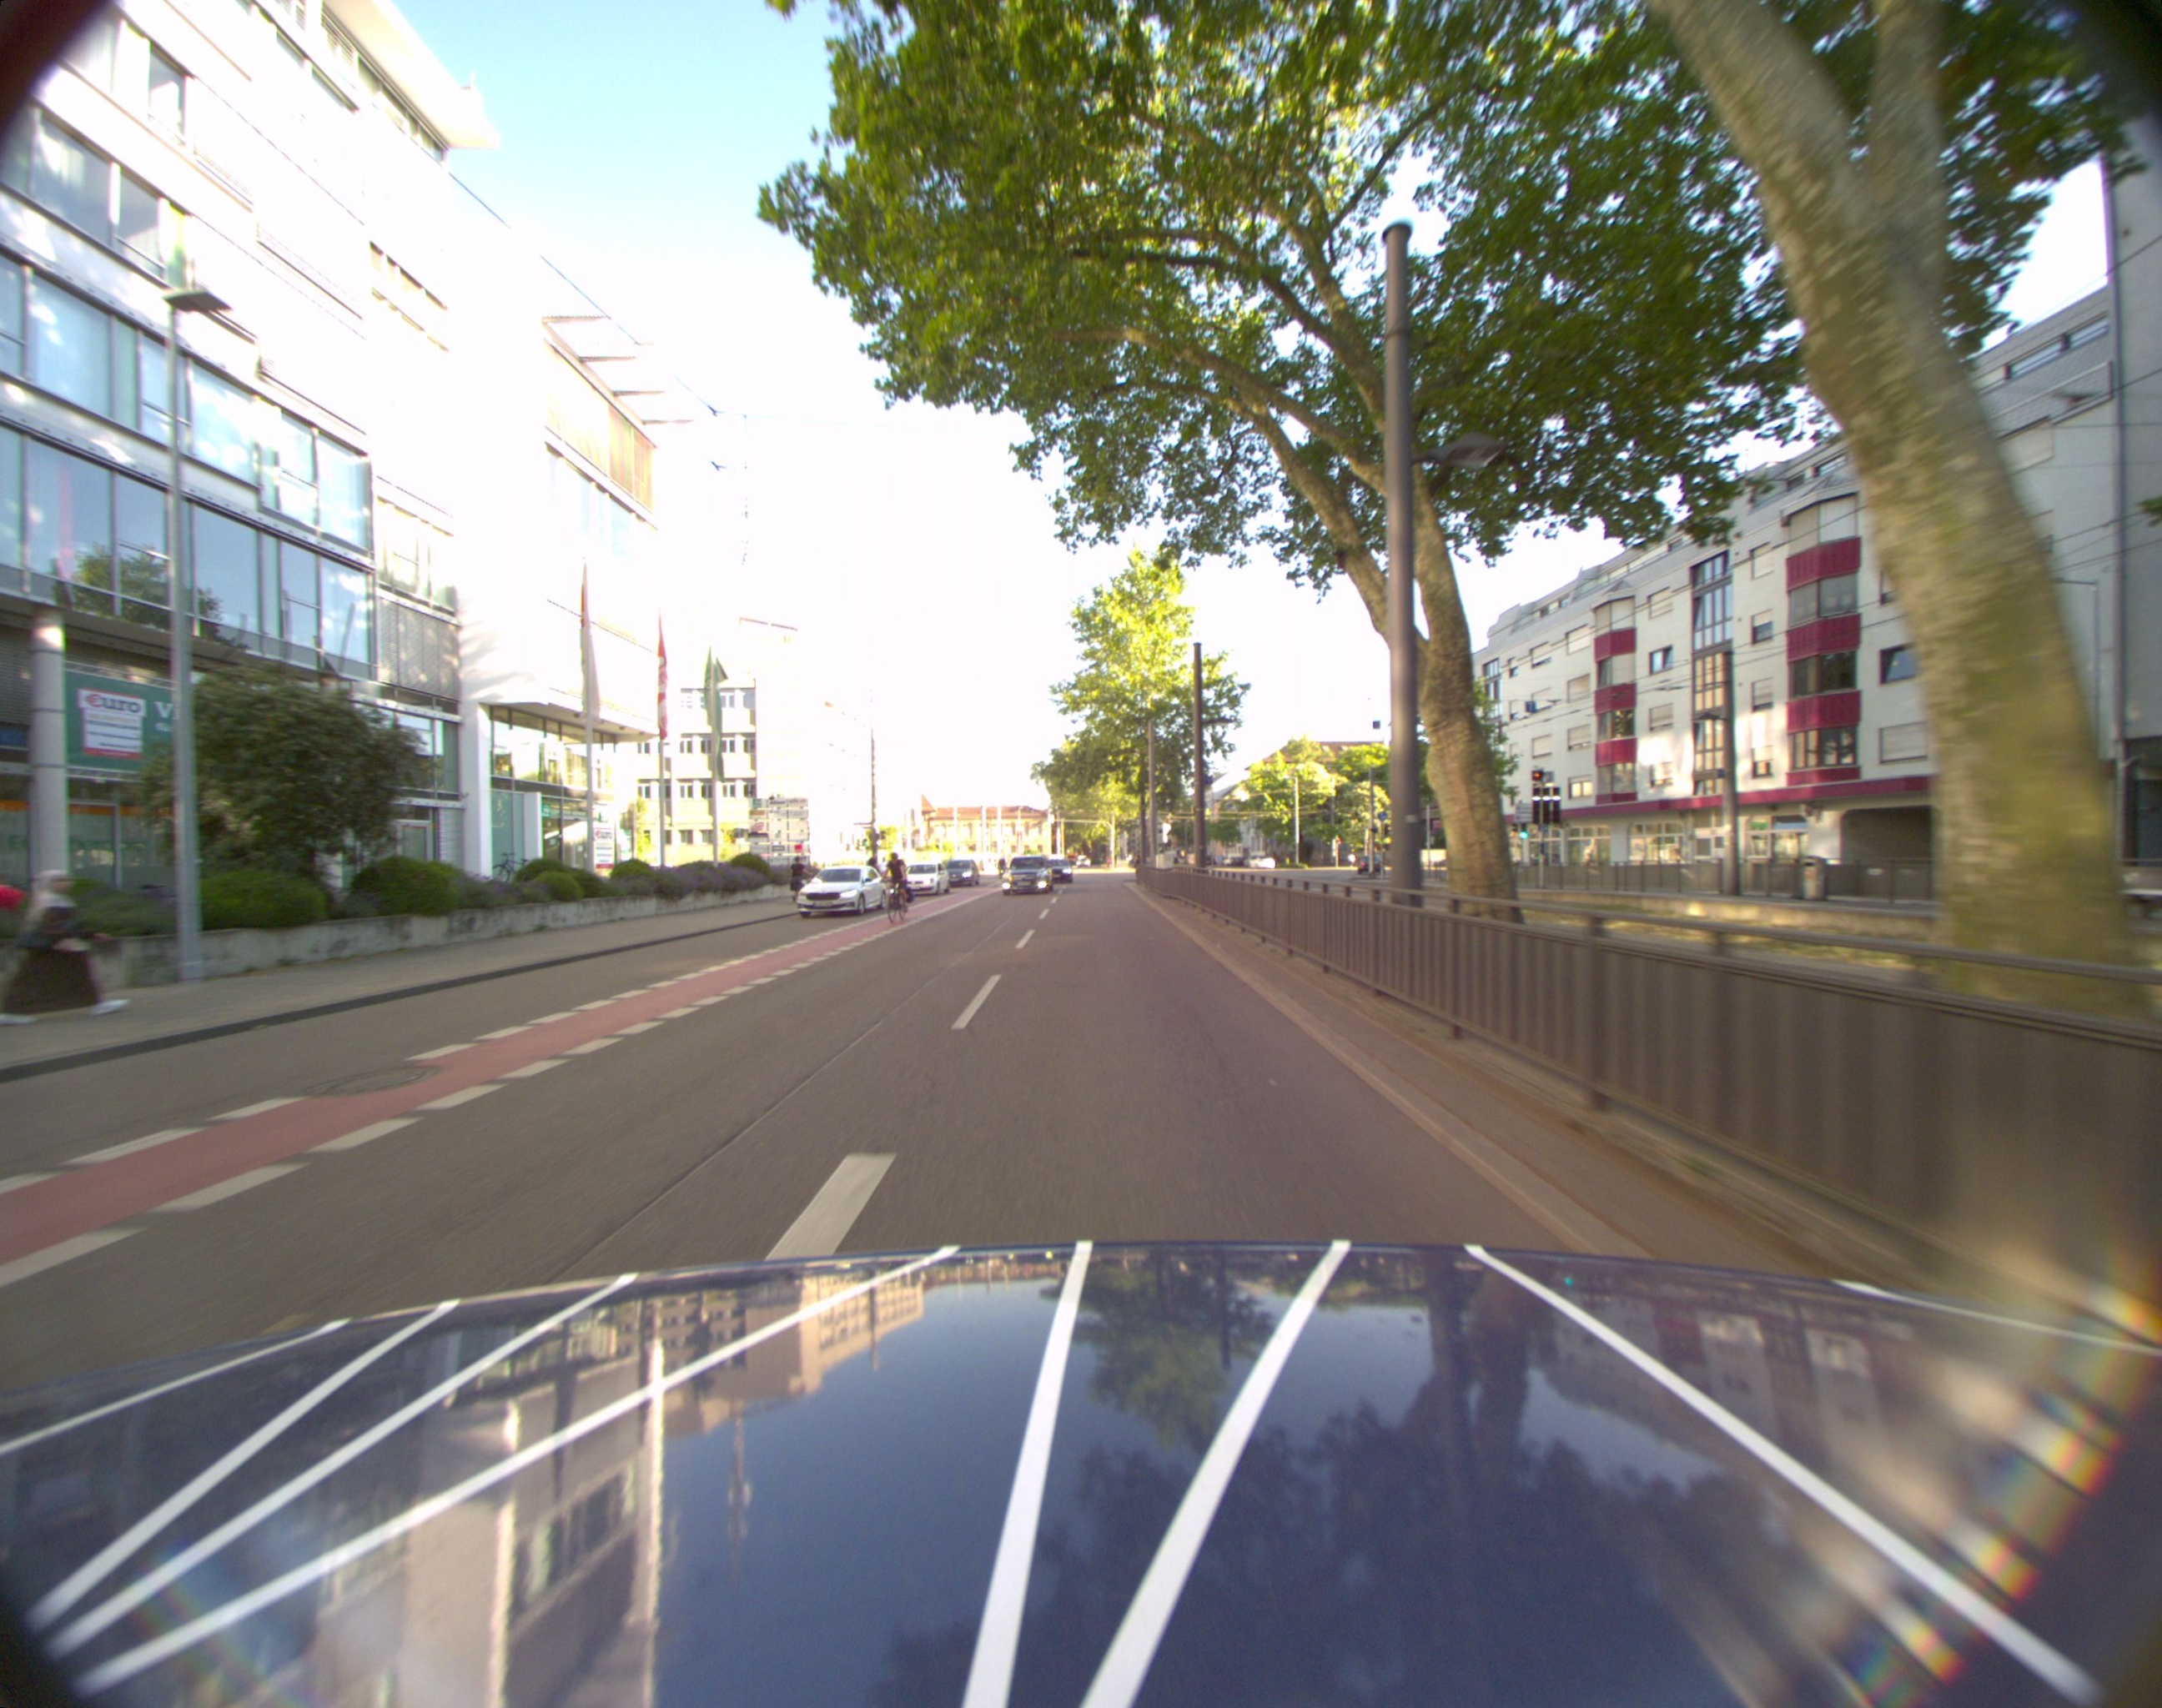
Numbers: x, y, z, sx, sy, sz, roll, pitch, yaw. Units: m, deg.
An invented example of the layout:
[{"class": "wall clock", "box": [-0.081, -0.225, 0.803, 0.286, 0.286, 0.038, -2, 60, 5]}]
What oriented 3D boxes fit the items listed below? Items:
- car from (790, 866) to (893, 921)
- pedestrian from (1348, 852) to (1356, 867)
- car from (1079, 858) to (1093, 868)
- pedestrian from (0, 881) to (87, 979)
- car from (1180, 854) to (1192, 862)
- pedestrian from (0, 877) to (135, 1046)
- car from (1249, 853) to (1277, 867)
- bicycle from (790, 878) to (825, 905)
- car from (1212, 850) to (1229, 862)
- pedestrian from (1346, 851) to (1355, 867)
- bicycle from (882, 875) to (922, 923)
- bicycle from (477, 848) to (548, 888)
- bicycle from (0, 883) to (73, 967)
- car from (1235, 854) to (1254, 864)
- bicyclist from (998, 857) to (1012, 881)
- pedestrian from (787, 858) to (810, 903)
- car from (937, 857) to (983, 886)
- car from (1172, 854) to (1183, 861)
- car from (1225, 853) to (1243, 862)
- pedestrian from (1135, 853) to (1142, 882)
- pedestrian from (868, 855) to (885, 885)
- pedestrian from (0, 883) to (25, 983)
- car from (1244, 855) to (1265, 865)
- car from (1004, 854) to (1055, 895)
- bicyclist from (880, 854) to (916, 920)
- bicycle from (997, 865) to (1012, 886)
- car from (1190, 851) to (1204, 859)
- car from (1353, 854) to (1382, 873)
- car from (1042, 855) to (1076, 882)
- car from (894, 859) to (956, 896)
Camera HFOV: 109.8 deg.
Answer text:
[{"class": "car", "box": [-7.079, 1.110, 22.860, 1.786, 1.411, 4.021, 0, 0, 0]}, {"class": "pedestrian", "box": [28.456, 0.595, 79.885, 0.589, 1.498, 0.650, 0, 1, 41]}, {"class": "car", "box": [0.751, 1.351, 116.935, 1.827, 1.416, 4.345, -2, 0, -1]}, {"class": "pedestrian", "box": [-14.203, 1.008, 10.251, 0.785, 1.264, 0.543, -1, 1, -4]}, {"class": "car", "box": [22.120, 0.800, 159.767, 1.895, 1.552, 4.000, -1, 0, 0]}, {"class": "pedestrian", "box": [-10.493, 1.036, 7.650, 0.753, 1.565, 0.912, -1, 1, 3]}, {"class": "car", "box": [19.041, 0.613, 79.623, 1.998, 1.455, 4.000, -1, 0, 0]}, {"class": "bicycle", "box": [-9.619, 1.306, 26.781, 0.499, 0.841, 1.903, 3, 0, 1]}, {"class": "car", "box": [21.956, 0.313, 119.990, 1.862, 1.827, 3.913, -2, 1, 0]}, {"class": "pedestrian", "box": [28.303, 0.506, 79.845, 0.602, 1.694, 0.670, -1, 2, 39]}, {"class": "bicycle", "box": [-4.615, 1.134, 19.703, 0.551, 1.114, 2.126, 0, 0, -1]}, {"class": "bicycle", "box": [-20.391, 0.505, 27.238, 2.425, 1.419, 0.758, -1, 1, 18]}, {"class": "bicycle", "box": [-15.426, 1.017, 10.598, 0.534, 1.155, 1.611, -1, 0, 1]}, {"class": "car", "box": [23.015, 0.700, 107.088, 1.895, 1.259, 4.000, -1, 0, 0]}, {"class": "bicyclist", "box": [-4.319, 0.849, 43.096, 0.685, 1.372, 0.867, -1, 1, 0]}, {"class": "pedestrian", "box": [-9.984, 0.932, 26.859, 0.527, 1.573, 0.589, 2, 1, 2]}, {"class": "car", "box": [-7.009, 0.971, 44.329, 1.998, 1.586, 4.000, -1, 0, 0]}, {"class": "car", "box": [21.703, 0.840, 171.216, 1.895, 1.552, 4.000, -1, 0, 0]}, {"class": "car", "box": [22.728, 0.482, 113.291, 1.895, 1.259, 4.000, -1, 0, 0]}, {"class": "pedestrian", "box": [3.176, 0.736, 41.910, 0.389, 1.558, 0.336, -1, 1, 6]}, {"class": "pedestrian", "box": [-10.825, 0.827, 40.256, 0.693, 1.573, 0.664, 2, 1, 2]}, {"class": "pedestrian", "box": [-14.149, 1.017, 9.539, 0.752, 1.264, 0.693, -1, 1, -4]}, {"class": "car", "box": [22.954, 0.788, 100.554, 1.895, 1.259, 4.000, -1, 0, 0]}, {"class": "car", "box": [-2.091, 0.808, 31.948, 1.785, 1.628, 4.022, 0, 0, 1]}, {"class": "bicyclist", "box": [-4.711, 0.831, 19.586, 0.752, 1.678, 0.714, 0, 1, 1]}, {"class": "bicycle", "box": [-4.341, 1.185, 43.165, 0.666, 1.118, 1.874, -1, 0, 0]}, {"class": "car", "box": [21.511, 0.173, 141.175, 1.895, 1.470, 4.000, -1, 0, 0]}, {"class": "car", "box": [20.932, 0.670, 55.606, 1.647, 1.346, 3.905, -1, 0, 16]}, {"class": "car", "box": [-1.272, 0.816, 44.039, 1.827, 1.416, 4.345, -2, 0, -1]}, {"class": "car", "box": [-6.747, 0.986, 33.179, 1.671, 1.455, 3.870, 0, 0, 4]}]
